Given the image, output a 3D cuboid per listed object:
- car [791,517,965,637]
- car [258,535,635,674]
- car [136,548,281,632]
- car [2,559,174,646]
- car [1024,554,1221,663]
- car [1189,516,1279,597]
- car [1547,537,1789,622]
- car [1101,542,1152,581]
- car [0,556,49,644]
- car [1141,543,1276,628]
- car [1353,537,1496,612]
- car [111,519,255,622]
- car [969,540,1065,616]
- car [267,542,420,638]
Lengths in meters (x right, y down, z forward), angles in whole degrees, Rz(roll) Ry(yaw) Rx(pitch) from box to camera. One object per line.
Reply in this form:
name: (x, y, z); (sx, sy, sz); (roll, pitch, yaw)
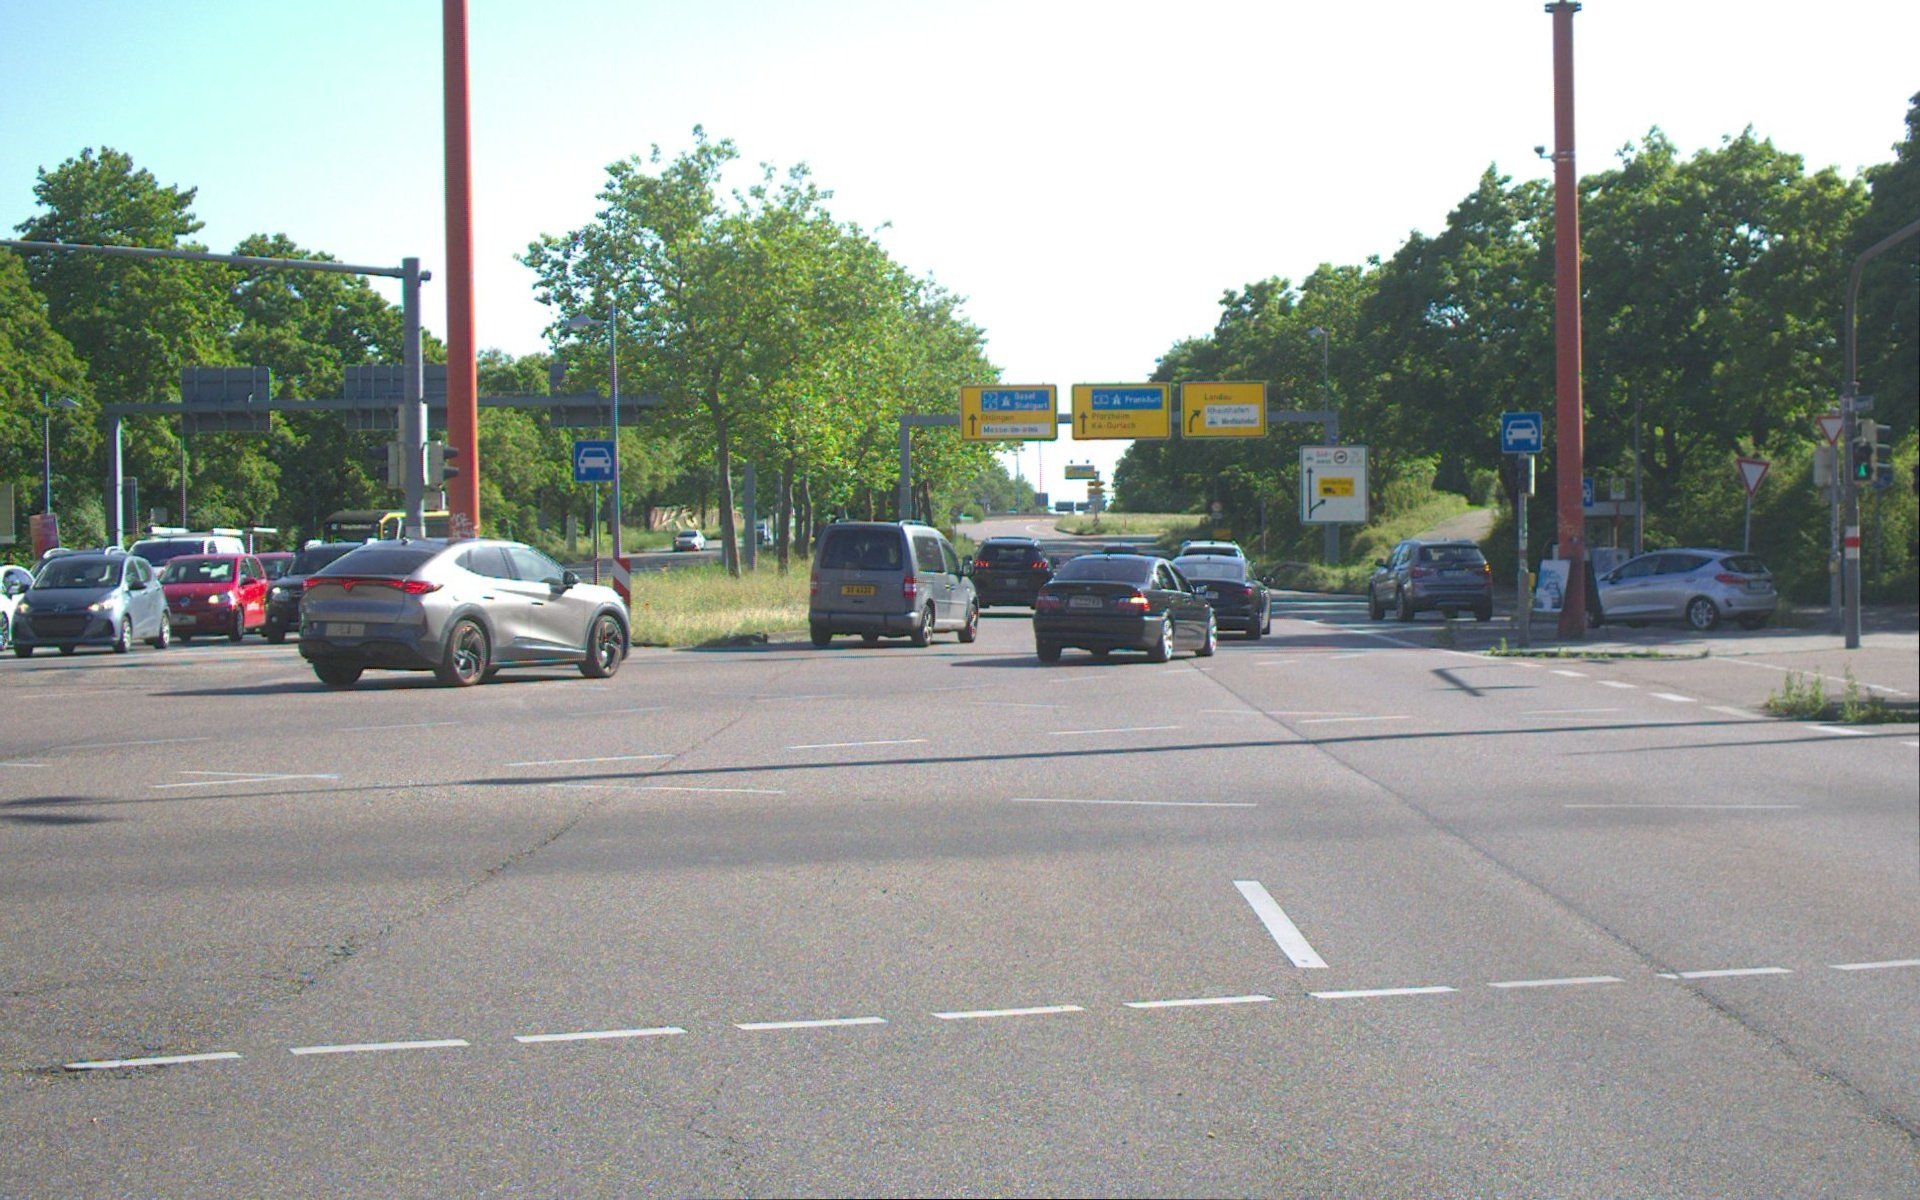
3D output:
car: (-1.174, -0.362, 51.350); (1.846, 1.702, 4.306); (0, 1, 9)
car: (-5.560, 0.016, 37.804); (1.833, 1.417, 4.430); (0, 1, 28)
car: (-12.694, -0.189, 58.272); (1.739, 1.357, 3.613); (-1, 1, -1)
car: (-13.117, 0.016, 51.903); (1.739, 1.239, 3.613); (-1, 1, -1)
car: (2.206, 0.081, 45.411); (1.761, 1.345, 4.360); (0, 1, 14)
car: (5.766, -0.914, 72.275); (1.823, 1.630, 4.252); (0, 1, 5)
car: (12.656, -0.370, 61.556); (1.679, 1.462, 3.992); (-1, 1, -44)
car: (6.379, -1.489, 132.175); (1.680, 1.430, 4.065); (-1, 1, -1)
car: (-16.425, -0.016, 57.048); (1.739, 1.406, 3.613); (-1, 1, -1)
car: (4.186, -0.270, 57.390); (1.760, 1.345, 4.361); (0, 1, 11)
car: (9.541, -0.543, 70.936); (1.779, 1.480, 4.331); (-1, 1, -9)
car: (-16.026, -0.600, 71.119); (1.893, 2.019, 5.223); (1, 0, -1)
car: (1.227, -0.492, 72.585); (1.852, 1.540, 4.262); (0, 1, 3)
car: (-10.066, -0.197, 56.381); (1.819, 1.503, 4.000); (-1, 1, -1)
